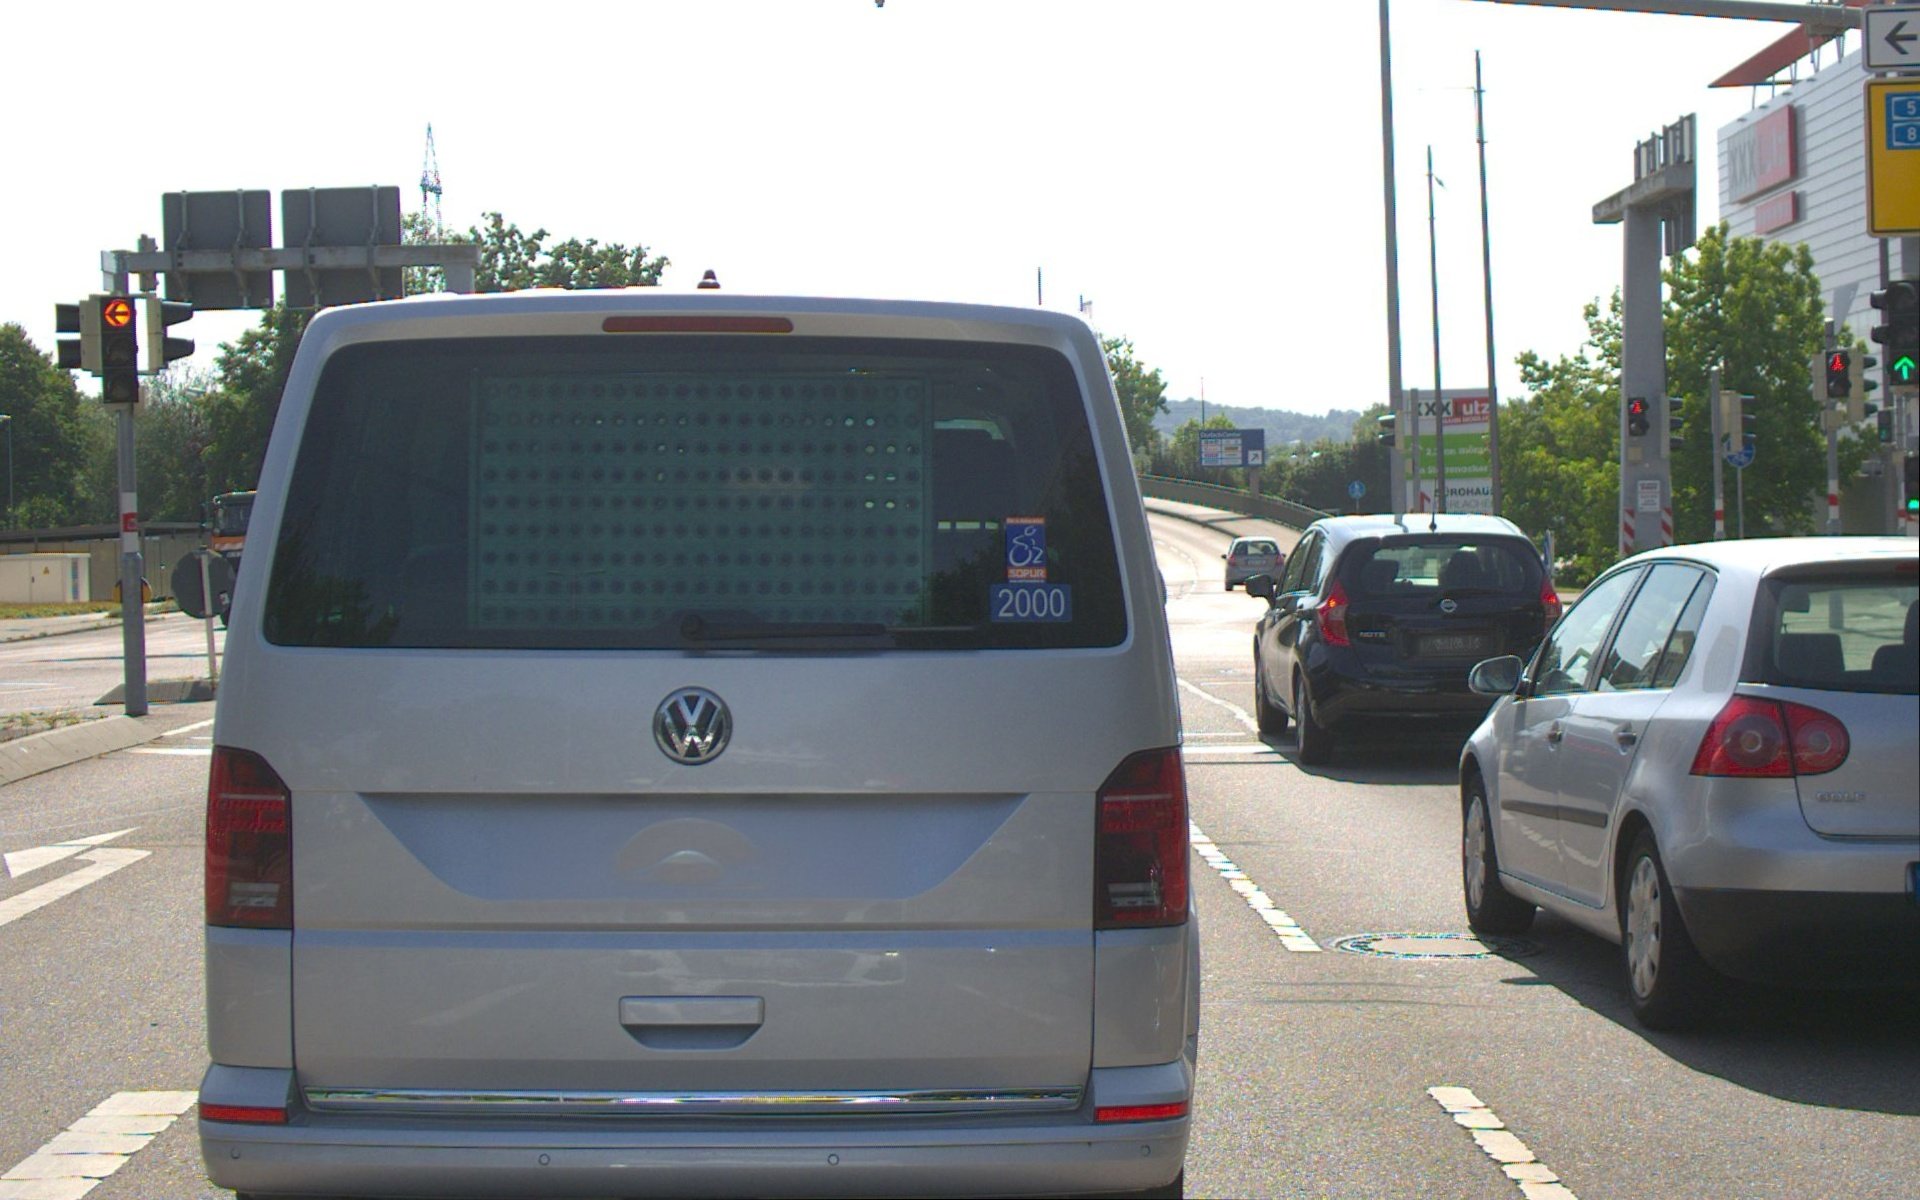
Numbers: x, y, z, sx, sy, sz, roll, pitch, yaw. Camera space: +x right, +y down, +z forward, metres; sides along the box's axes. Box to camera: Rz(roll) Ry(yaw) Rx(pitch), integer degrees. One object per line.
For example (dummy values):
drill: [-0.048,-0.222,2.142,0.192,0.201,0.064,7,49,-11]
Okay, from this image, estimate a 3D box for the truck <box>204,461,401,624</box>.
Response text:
truck: [-15.734,-1.408,82.823,2.747,3.667,7.579,-2,1,4]

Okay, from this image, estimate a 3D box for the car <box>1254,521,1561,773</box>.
car: [2.768,0.237,21.904,1.531,1.475,3.596,0,1,1]

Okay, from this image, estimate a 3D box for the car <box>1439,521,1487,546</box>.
car: [31.742,-4.186,217.130,1.883,1.514,4.001,1,0,-9]

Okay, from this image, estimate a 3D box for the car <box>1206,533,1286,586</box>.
car: [8.071,-1.162,97.262,1.530,1.433,3.248,-2,1,-8]

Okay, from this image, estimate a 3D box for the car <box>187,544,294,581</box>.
car: [-29.678,-1.549,141.874,4.098,1.415,1.729,-1,0,-19]

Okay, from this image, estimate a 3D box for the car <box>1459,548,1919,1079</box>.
car: [2.770,0.552,11.166,1.666,1.409,3.683,0,1,-2]

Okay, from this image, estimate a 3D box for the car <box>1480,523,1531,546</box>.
car: [34.460,-4.120,217.171,1.993,1.415,4.001,1,0,-9]

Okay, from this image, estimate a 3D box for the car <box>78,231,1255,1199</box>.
car: [-0.512,0.338,7.770,1.917,1.968,4.297,0,1,-1]
